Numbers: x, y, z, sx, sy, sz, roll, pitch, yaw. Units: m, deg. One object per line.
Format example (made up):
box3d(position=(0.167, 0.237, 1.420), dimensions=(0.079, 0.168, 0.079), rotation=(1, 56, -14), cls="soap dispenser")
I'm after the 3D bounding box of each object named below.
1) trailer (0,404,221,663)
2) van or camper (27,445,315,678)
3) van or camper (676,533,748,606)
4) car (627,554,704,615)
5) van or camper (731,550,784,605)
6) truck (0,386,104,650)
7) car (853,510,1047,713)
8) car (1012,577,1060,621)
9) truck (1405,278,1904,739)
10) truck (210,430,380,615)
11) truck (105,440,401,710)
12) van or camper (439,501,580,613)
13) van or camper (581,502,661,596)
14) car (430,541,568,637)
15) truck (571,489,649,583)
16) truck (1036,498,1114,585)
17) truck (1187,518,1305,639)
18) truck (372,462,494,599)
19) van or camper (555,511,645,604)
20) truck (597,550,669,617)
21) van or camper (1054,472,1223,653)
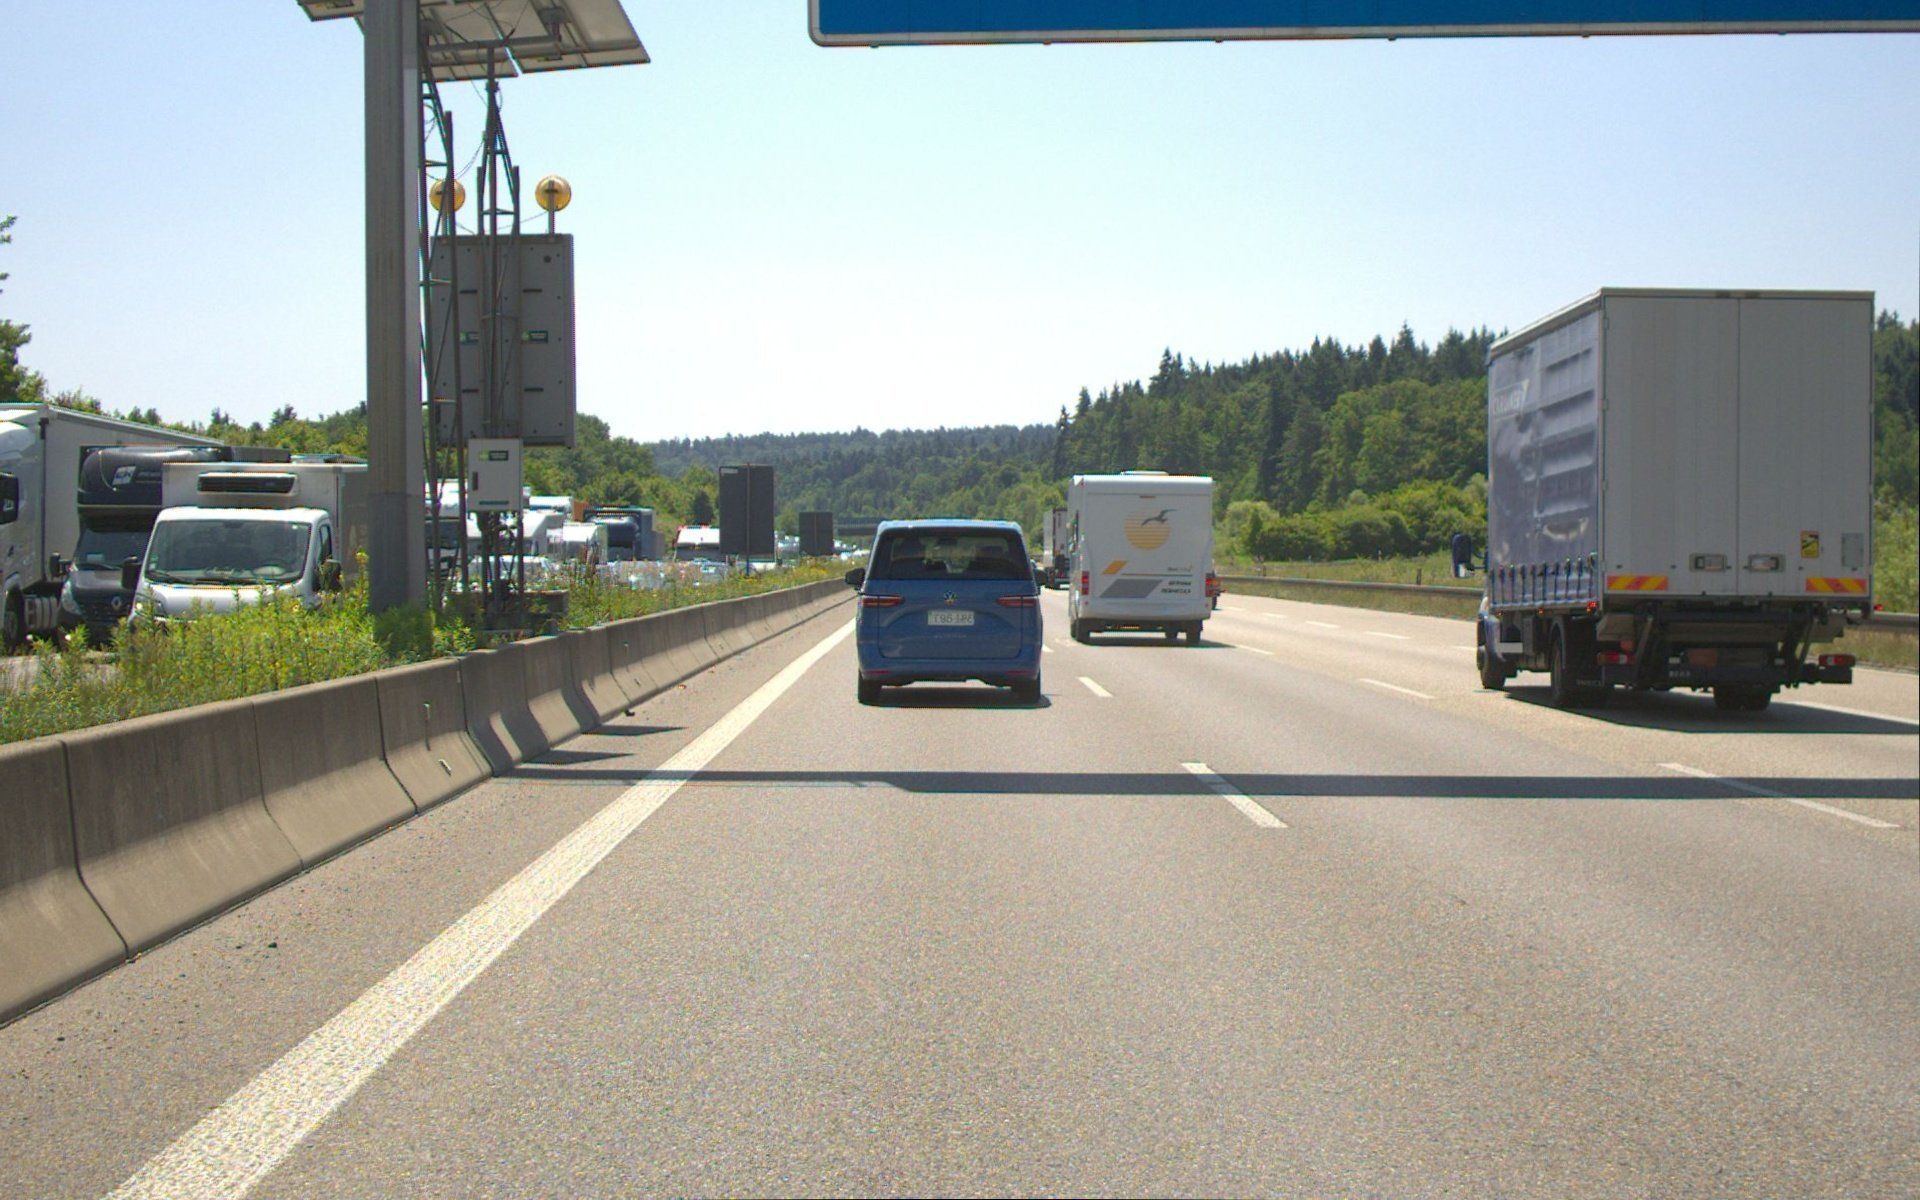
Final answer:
box3d(position=(-16.259, -1.102, 62.912), dimensions=(2.781, 4.290, 11.710), rotation=(0, 0, 1), cls="trailer")
box3d(position=(-12.254, -0.560, 54.108), dimensions=(2.529, 3.348, 7.943), rotation=(1, 0, 1), cls="van or camper")
box3d(position=(-8.729, -1.051, 121.501), dimensions=(2.193, 2.532, 6.417), rotation=(0, 0, -1), cls="van or camper")
box3d(position=(-8.625, -0.440, 101.092), dimensions=(1.811, 1.724, 4.973), rotation=(1, 0, 0), cls="car")
box3d(position=(-9.359, -1.028, 159.440), dimensions=(2.193, 2.497, 6.058), rotation=(0, 0, -1), cls="van or camper")
box3d(position=(-16.348, -1.275, 56.635), dimensions=(2.781, 4.100, 7.029), rotation=(0, 0, 0), cls="truck")
box3d(position=(-0.134, 0.094, 36.204), dimensions=(1.909, 2.007, 4.000), rotation=(1, 1, -1), cls="car")
box3d(position=(3.160, -0.033, 143.367), dimensions=(1.818, 1.788, 3.894), rotation=(1, 0, 0), cls="car")
box3d(position=(6.935, -0.834, 36.038), dimensions=(2.783, 4.114, 9.741), rotation=(1, 0, -2), cls="truck")
box3d(position=(-16.088, -1.803, 83.609), dimensions=(2.781, 4.290, 7.029), rotation=(0, 0, 0), cls="truck")
box3d(position=(-8.060, -0.266, 39.854), dimensions=(2.120, 2.832, 6.212), rotation=(1, 0, 0), cls="truck")
box3d(position=(-12.489, -1.144, 95.852), dimensions=(2.841, 2.938, 8.113), rotation=(1, 0, 0), cls="van or camper")
box3d(position=(-12.522, -1.832, 127.586), dimensions=(2.312, 3.378, 7.680), rotation=(0, 0, -1), cls="van or camper")
box3d(position=(-8.322, -0.190, 62.427), dimensions=(1.811, 1.628, 5.030), rotation=(1, 0, 0), cls="car")
box3d(position=(-16.019, -2.877, 158.031), dimensions=(2.573, 4.064, 9.695), rotation=(1, 0, 0), cls="truck")
box3d(position=(5.749, -2.885, 173.021), dimensions=(3.487, 4.156, 8.642), rotation=(1, 0, 0), cls="truck")
box3d(position=(8.762, -0.730, 106.221), dimensions=(2.928, 3.563, 8.526), rotation=(-1, 1, 0), cls="truck")
box3d(position=(-16.412, -2.109, 107.468), dimensions=(2.801, 4.114, 6.141), rotation=(1, 0, 0), cls="truck")
box3d(position=(-11.742, -1.342, 112.496), dimensions=(2.151, 2.913, 7.224), rotation=(1, 0, 0), cls="van or camper")
box3d(position=(-12.625, -0.617, 133.264), dimensions=(2.234, 2.497, 6.862), rotation=(0, 0, -1), cls="truck")
box3d(position=(3.176, -0.778, 63.027), dimensions=(2.603, 3.068, 7.183), rotation=(1, 2, 0), cls="van or camper")
